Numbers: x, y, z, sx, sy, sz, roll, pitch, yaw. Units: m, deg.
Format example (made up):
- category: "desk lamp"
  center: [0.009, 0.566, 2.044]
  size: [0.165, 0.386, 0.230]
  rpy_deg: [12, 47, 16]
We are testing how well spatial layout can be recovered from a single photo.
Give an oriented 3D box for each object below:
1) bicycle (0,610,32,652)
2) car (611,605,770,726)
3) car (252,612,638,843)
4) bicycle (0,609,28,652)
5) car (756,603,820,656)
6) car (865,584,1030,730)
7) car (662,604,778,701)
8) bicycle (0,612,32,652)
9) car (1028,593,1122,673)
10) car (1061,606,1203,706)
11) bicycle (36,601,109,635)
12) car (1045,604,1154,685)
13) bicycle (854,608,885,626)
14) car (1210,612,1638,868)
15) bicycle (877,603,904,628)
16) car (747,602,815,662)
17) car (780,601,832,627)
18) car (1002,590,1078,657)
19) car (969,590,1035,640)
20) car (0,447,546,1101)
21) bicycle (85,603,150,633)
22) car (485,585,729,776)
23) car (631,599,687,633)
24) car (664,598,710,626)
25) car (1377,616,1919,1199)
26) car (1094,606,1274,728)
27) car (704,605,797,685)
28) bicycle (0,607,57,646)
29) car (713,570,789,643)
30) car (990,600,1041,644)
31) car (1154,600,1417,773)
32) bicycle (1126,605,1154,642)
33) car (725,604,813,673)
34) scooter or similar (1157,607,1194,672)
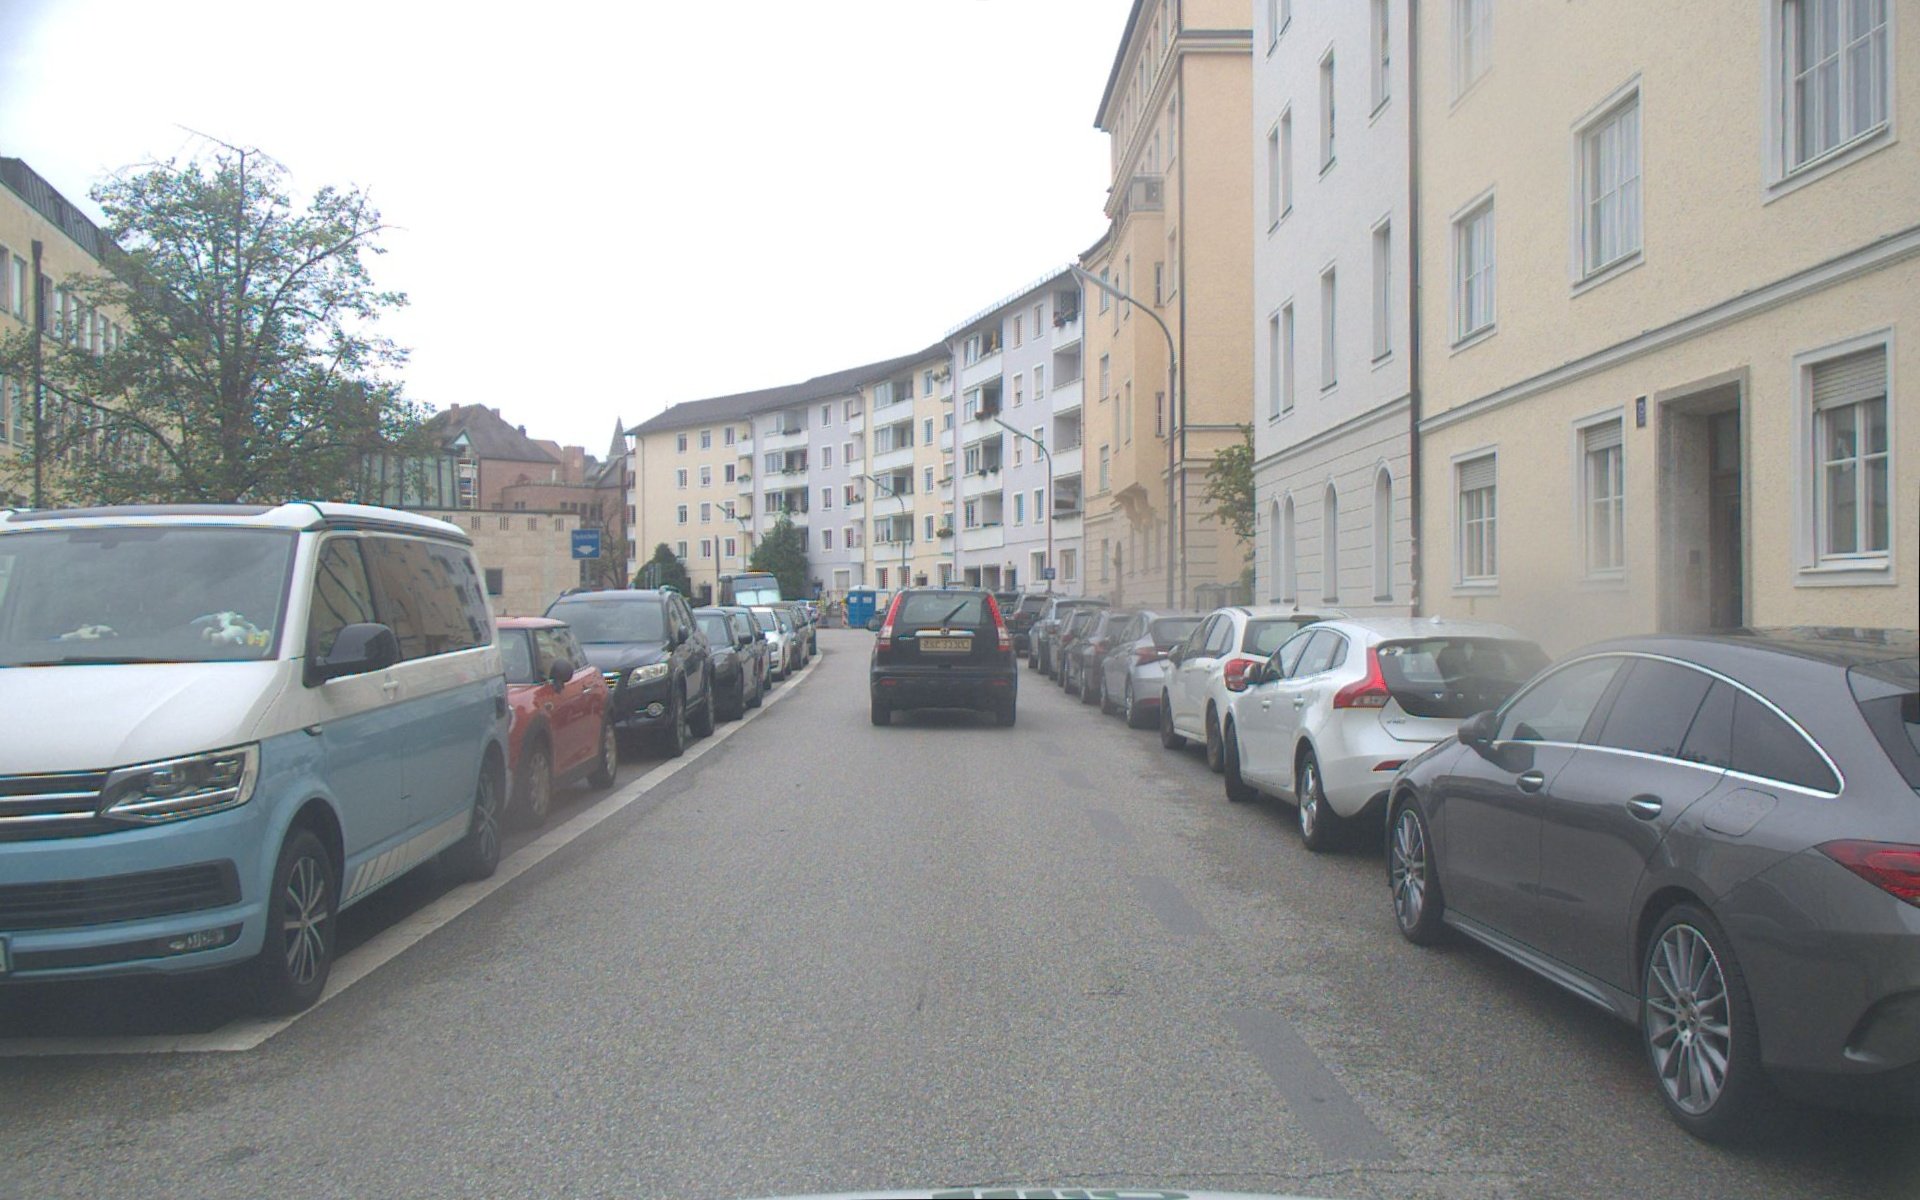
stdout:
- category: "bicycle"
  center: [-24.376, 0.772, 41.377]
  size: [1.914, 1.032, 0.623]
  rpy_deg: [0, 0, -15]
- category: "car"
  center: [-3.660, 0.838, 23.031]
  size: [1.646, 1.479, 3.868]
  rpy_deg: [-2, 0, -2]
- category: "car"
  center: [-3.624, 0.820, 12.387]
  size: [1.708, 1.411, 3.917]
  rpy_deg: [1, 0, -1]
- category: "bicycle"
  center: [-24.041, 0.745, 40.617]
  size: [1.912, 1.032, 0.624]
  rpy_deg: [0, 0, -12]
- category: "car"
  center: [-5.065, 0.839, 48.865]
  size: [1.764, 1.430, 4.450]
  rpy_deg: [-2, 0, -6]
- category: "car"
  center: [-0.252, 0.669, 21.179]
  size: [1.854, 1.676, 3.987]
  rpy_deg: [0, 0, -4]
- category: "car"
  center: [-4.033, 0.842, 28.291]
  size: [1.624, 1.479, 3.971]
  rpy_deg: [-2, 0, -4]
- category: "bicycle"
  center: [-24.994, 0.820, 42.482]
  size: [1.914, 1.032, 0.623]
  rpy_deg: [0, 0, -15]
- category: "car"
  center: [2.493, 0.699, 36.781]
  size: [1.687, 1.663, 4.456]
  rpy_deg: [0, 0, -2]
- category: "car"
  center: [2.653, 0.829, 26.410]
  size: [1.645, 1.452, 4.389]
  rpy_deg: [0, 0, -3]
- category: "bicycle"
  center: [-27.660, 0.559, 51.559]
  size: [1.910, 1.032, 0.624]
  rpy_deg: [0, 0, -8]
- category: "car"
  center: [2.608, 0.807, 31.752]
  size: [1.645, 1.452, 4.085]
  rpy_deg: [0, 0, -2]
- category: "bicycle"
  center: [-5.648, 1.082, 103.174]
  size: [1.841, 1.110, 0.561]
  rpy_deg: [0, -1, -23]
- category: "car"
  center: [2.976, 0.809, 11.621]
  size: [1.645, 1.434, 4.441]
  rpy_deg: [0, 0, -2]
- category: "bicycle"
  center: [-4.010, 0.902, 95.514]
  size: [0.953, 1.413, 2.552]
  rpy_deg: [0, 0, -16]
- category: "car"
  center: [-4.727, 0.821, 44.044]
  size: [1.624, 1.479, 3.309]
  rpy_deg: [-2, 0, -4]
- category: "car"
  center: [-9.363, 0.846, 100.183]
  size: [1.705, 1.509, 3.962]
  rpy_deg: [1, 0, -29]
- category: "car"
  center: [2.202, 0.643, 46.741]
  size: [1.831, 1.747, 4.864]
  rpy_deg: [1, 0, -1]
- category: "car"
  center: [1.565, 0.562, 63.666]
  size: [1.745, 1.838, 4.266]
  rpy_deg: [1, 0, -9]
- category: "car"
  center: [-3.365, 0.561, 7.615]
  size: [1.890, 2.013, 5.019]
  rpy_deg: [-1, 0, -3]
- category: "bicycle"
  center: [-29.387, 0.613, 57.738]
  size: [1.912, 1.032, 0.624]
  rpy_deg: [0, 0, -12]
- category: "car"
  center: [-3.637, 0.760, 17.820]
  size: [1.709, 1.695, 4.447]
  rpy_deg: [-3, 0, -2]
- category: "car"
  center: [-15.818, 0.846, 86.851]
  size: [1.660, 1.737, 4.472]
  rpy_deg: [0, 0, -28]
- category: "car"
  center: [-19.287, 0.814, 116.705]
  size: [1.710, 1.911, 3.951]
  rpy_deg: [1, 0, -35]
- category: "car"
  center: [2.925, 0.783, 5.887]
  size: [1.645, 1.434, 4.420]
  rpy_deg: [0, 0, -2]
- category: "car"
  center: [2.852, 0.814, 21.834]
  size: [1.645, 1.452, 4.165]
  rpy_deg: [0, 0, -3]
- category: "car"
  center: [-4.233, 0.867, 33.927]
  size: [1.624, 1.479, 4.069]
  rpy_deg: [-2, 0, -4]
- category: "bicycle"
  center: [-25.149, 0.694, 43.960]
  size: [1.914, 1.032, 0.623]
  rpy_deg: [0, 0, -15]
- category: "car"
  center: [-8.258, 0.238, 64.952]
  size: [2.128, 2.688, 5.993]
  rpy_deg: [-1, 0, -15]
- category: "car"
  center: [1.956, 0.774, 58.887]
  size: [1.673, 1.472, 3.829]
  rpy_deg: [1, 0, 0]
- category: "car"
  center: [3.092, 0.765, 16.541]
  size: [1.645, 1.507, 4.165]
  rpy_deg: [0, 0, -3]
- category: "bicycle"
  center: [5.619, 0.716, 51.632]
  size: [0.567, 1.102, 1.953]
  rpy_deg: [-3, 0, -1]
- category: "car"
  center: [-4.443, 0.861, 38.991]
  size: [1.720, 1.479, 4.393]
  rpy_deg: [-2, 0, -3]
- category: "scooter or similar"
  center: [4.047, 0.741, 31.096]
  size: [0.475, 1.184, 1.171]
  rpy_deg: [1, -1, -3]
